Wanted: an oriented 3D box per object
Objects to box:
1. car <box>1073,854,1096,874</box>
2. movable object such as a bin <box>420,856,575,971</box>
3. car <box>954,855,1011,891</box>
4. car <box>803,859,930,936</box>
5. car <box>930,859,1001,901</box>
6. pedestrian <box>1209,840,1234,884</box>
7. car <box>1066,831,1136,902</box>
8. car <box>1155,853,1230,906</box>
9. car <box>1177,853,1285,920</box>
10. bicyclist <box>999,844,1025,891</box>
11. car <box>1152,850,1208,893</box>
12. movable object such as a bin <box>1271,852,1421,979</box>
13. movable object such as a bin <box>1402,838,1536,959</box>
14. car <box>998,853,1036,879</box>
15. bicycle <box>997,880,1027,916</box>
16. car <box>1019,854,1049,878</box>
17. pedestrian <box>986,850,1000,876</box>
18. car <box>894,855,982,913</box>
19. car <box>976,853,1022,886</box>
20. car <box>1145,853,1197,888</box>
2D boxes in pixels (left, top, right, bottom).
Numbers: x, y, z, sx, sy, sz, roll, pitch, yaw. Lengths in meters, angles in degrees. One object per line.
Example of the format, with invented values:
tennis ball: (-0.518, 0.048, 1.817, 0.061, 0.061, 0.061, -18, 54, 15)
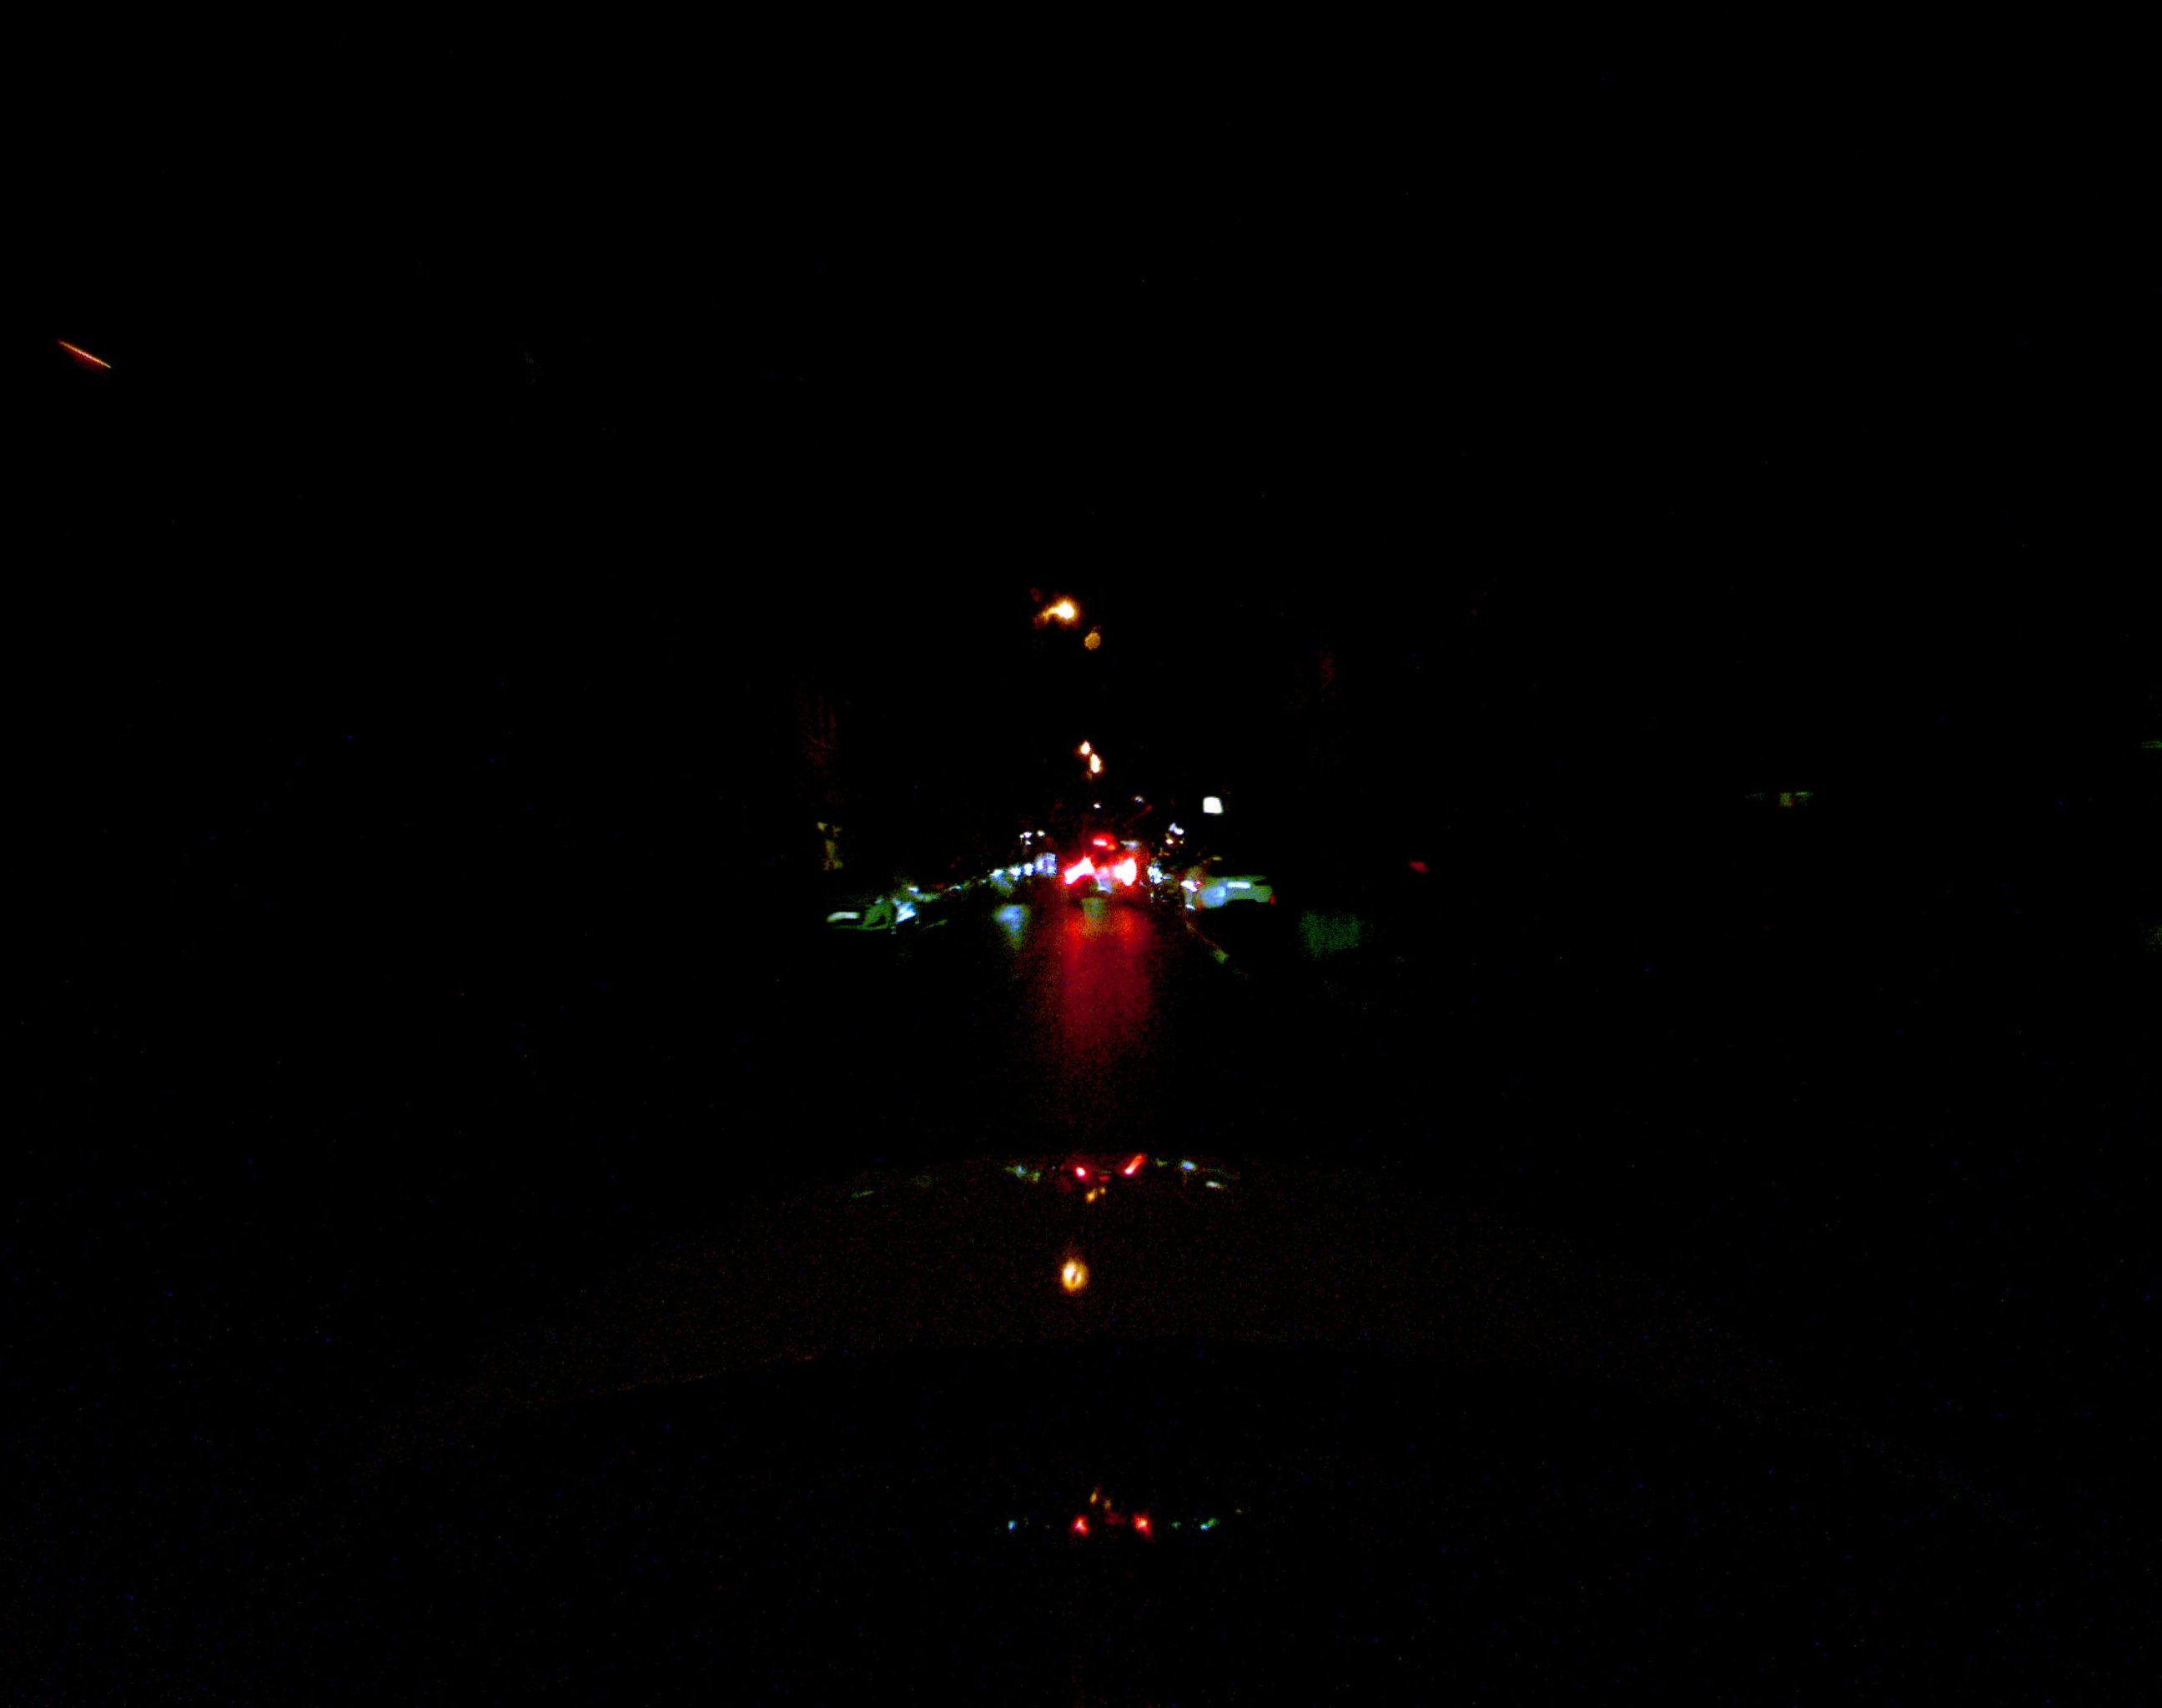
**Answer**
car: (0.343, 0.878, 72.653, 1.914, 1.618, 4.575, -3, 0, 0)
movable object such as a bin: (-7.948, 0.769, 11.190, 1.098, 1.454, 1.378, -2, 0, 0)
car: (-4.247, 0.784, 35.729, 1.825, 1.481, 4.308, -1, 0, 2)
car: (-4.548, 0.864, 17.824, 1.665, 1.491, 3.723, 0, 0, 2)
car: (-4.184, 0.896, 30.182, 1.815, 1.390, 4.427, -1, 0, 2)
pedestrian: (5.848, 0.323, 33.906, 0.858, 1.788, 1.084, -3, 1, 5)
car: (0.681, 0.364, 25.945, 1.988, 2.049, 4.697, -1, 0, 2)
car: (3.376, 0.744, 25.350, 1.685, 1.498, 3.888, -1, 0, -2)
car: (3.608, 0.723, 20.381, 1.986, 1.464, 4.418, -1, 0, 2)
bicyclist: (-2.334, 0.449, 27.605, 0.715, 1.556, 0.895, -2, 0, 1)
car: (3.638, 0.616, 30.552, 1.683, 1.498, 3.892, -1, 0, 1)
movable object such as a bin: (3.277, 0.701, 10.111, 1.347, 1.429, 1.188, -1, 0, -35)
movable object such as a bin: (4.842, 0.531, 10.275, 1.300, 1.429, 1.053, -1, 0, 11)
car: (-3.873, 0.709, 49.935, 1.825, 1.486, 4.596, -1, 0, 2)
bicycle: (-2.321, 1.471, 27.652, 0.724, 1.073, 2.349, -2, 0, 2)
car: (-3.449, 0.837, 60.343, 1.825, 1.717, 4.596, -1, 0, 2)
pedestrian: (-6.126, 0.608, 56.792, 0.739, 1.804, 0.988, 1, -1, 5)
car: (-4.193, 0.836, 24.445, 1.768, 1.572, 4.136, -1, 0, 2)
car: (-4.027, 0.733, 40.437, 1.738, 1.588, 3.767, -1, 0, 2)
car: (3.916, 0.695, 36.009, 1.910, 1.412, 4.001, -1, 0, 1)
